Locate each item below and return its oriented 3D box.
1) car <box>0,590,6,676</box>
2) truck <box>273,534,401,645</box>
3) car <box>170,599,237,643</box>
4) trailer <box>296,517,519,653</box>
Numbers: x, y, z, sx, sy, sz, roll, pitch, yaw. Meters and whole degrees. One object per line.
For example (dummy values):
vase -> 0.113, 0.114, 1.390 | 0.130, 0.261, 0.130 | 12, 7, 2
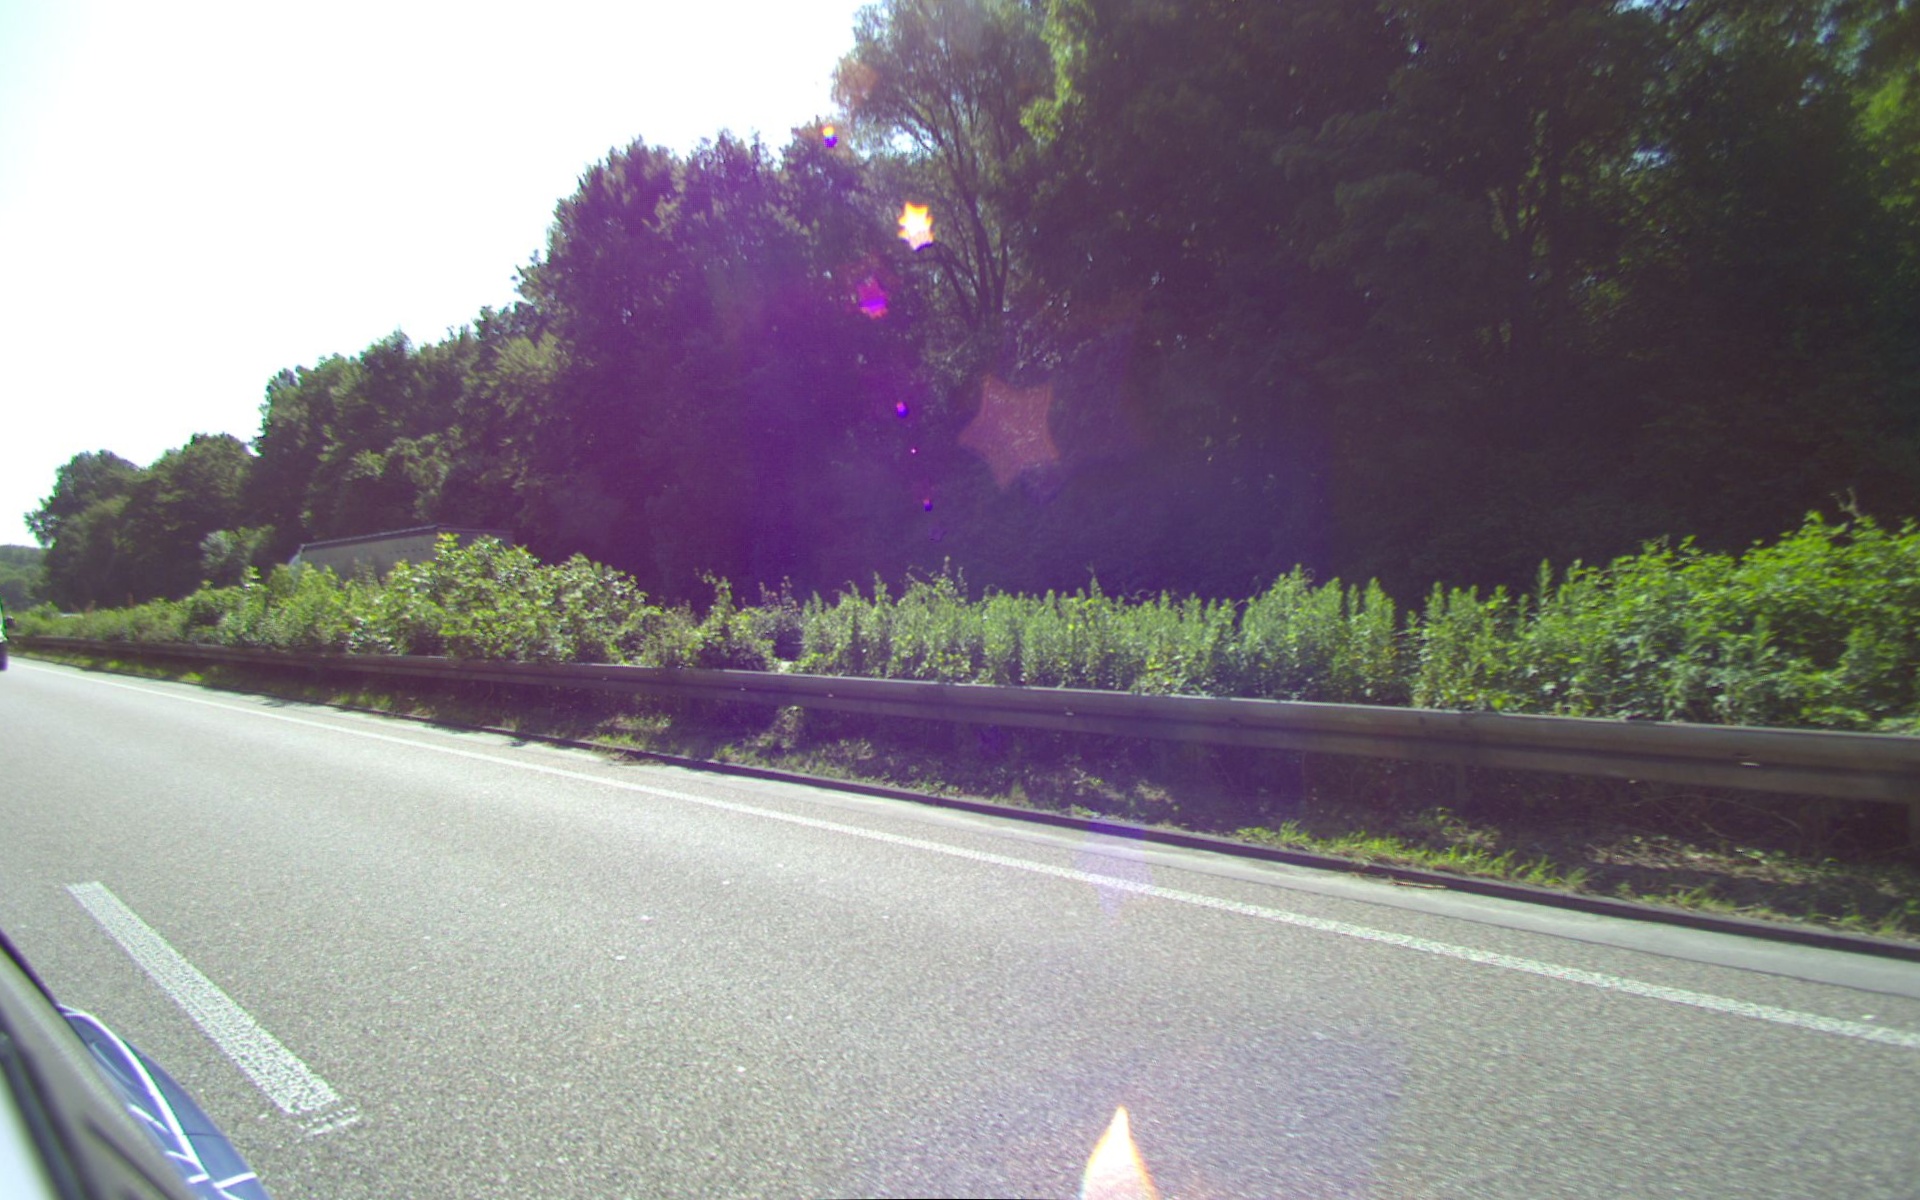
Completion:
car -> -29.768, 0.966, 29.773 | 4.635, 2.462, 2.020 | -1, 0, 41
truck -> -25.970, -0.372, 42.083 | 6.533, 4.276, 2.689 | -1, 0, 41
car -> -31.447, 0.843, 42.046 | 3.480, 1.719, 1.590 | -1, 0, 42
trailer -> -21.103, -0.424, 37.953 | 13.657, 4.332, 2.799 | -1, 0, 41
